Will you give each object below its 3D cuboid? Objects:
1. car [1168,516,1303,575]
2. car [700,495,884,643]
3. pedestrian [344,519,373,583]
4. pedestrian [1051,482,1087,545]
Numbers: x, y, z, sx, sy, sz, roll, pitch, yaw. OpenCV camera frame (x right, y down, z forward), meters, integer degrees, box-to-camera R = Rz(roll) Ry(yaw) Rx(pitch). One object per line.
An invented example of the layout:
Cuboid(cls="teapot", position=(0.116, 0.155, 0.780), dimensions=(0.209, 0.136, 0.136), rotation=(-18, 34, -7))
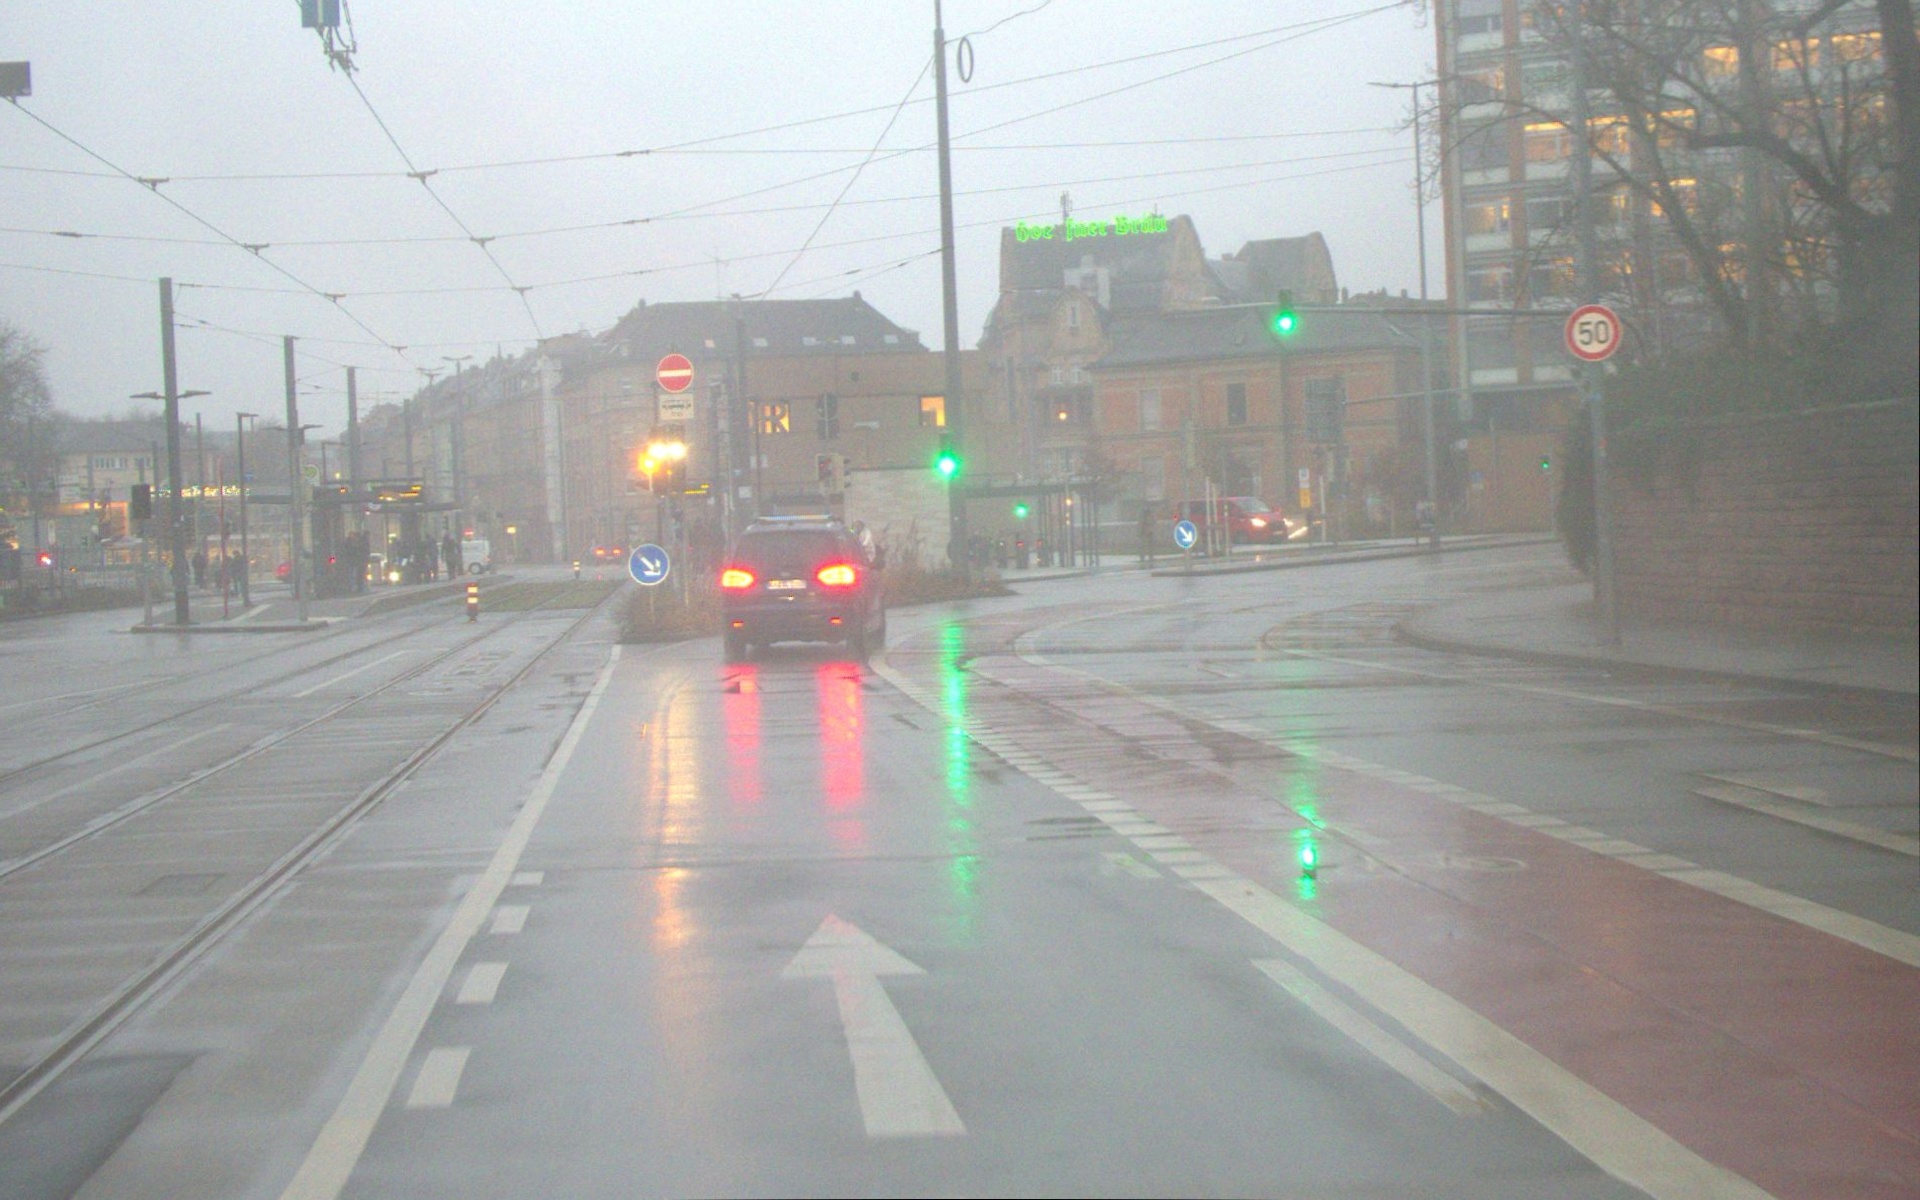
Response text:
Cuboid(cls="car", position=(10.711, -2.119, 133.879), dimensions=(2.252, 2.273, 5.035), rotation=(0, 1, -43))
Cuboid(cls="car", position=(-2.185, -0.453, 45.737), dimensions=(1.648, 1.812, 3.999), rotation=(0, 3, 9))
Cuboid(cls="pedestrian", position=(-16.707, -1.365, 95.511), dimensions=(0.712, 1.751, 0.717), rotation=(-1, 1, -4))
Cuboid(cls="pedestrian", position=(2.905, -2.316, 91.934), dimensions=(0.674, 1.668, 0.729), rotation=(1, 1, 34))
